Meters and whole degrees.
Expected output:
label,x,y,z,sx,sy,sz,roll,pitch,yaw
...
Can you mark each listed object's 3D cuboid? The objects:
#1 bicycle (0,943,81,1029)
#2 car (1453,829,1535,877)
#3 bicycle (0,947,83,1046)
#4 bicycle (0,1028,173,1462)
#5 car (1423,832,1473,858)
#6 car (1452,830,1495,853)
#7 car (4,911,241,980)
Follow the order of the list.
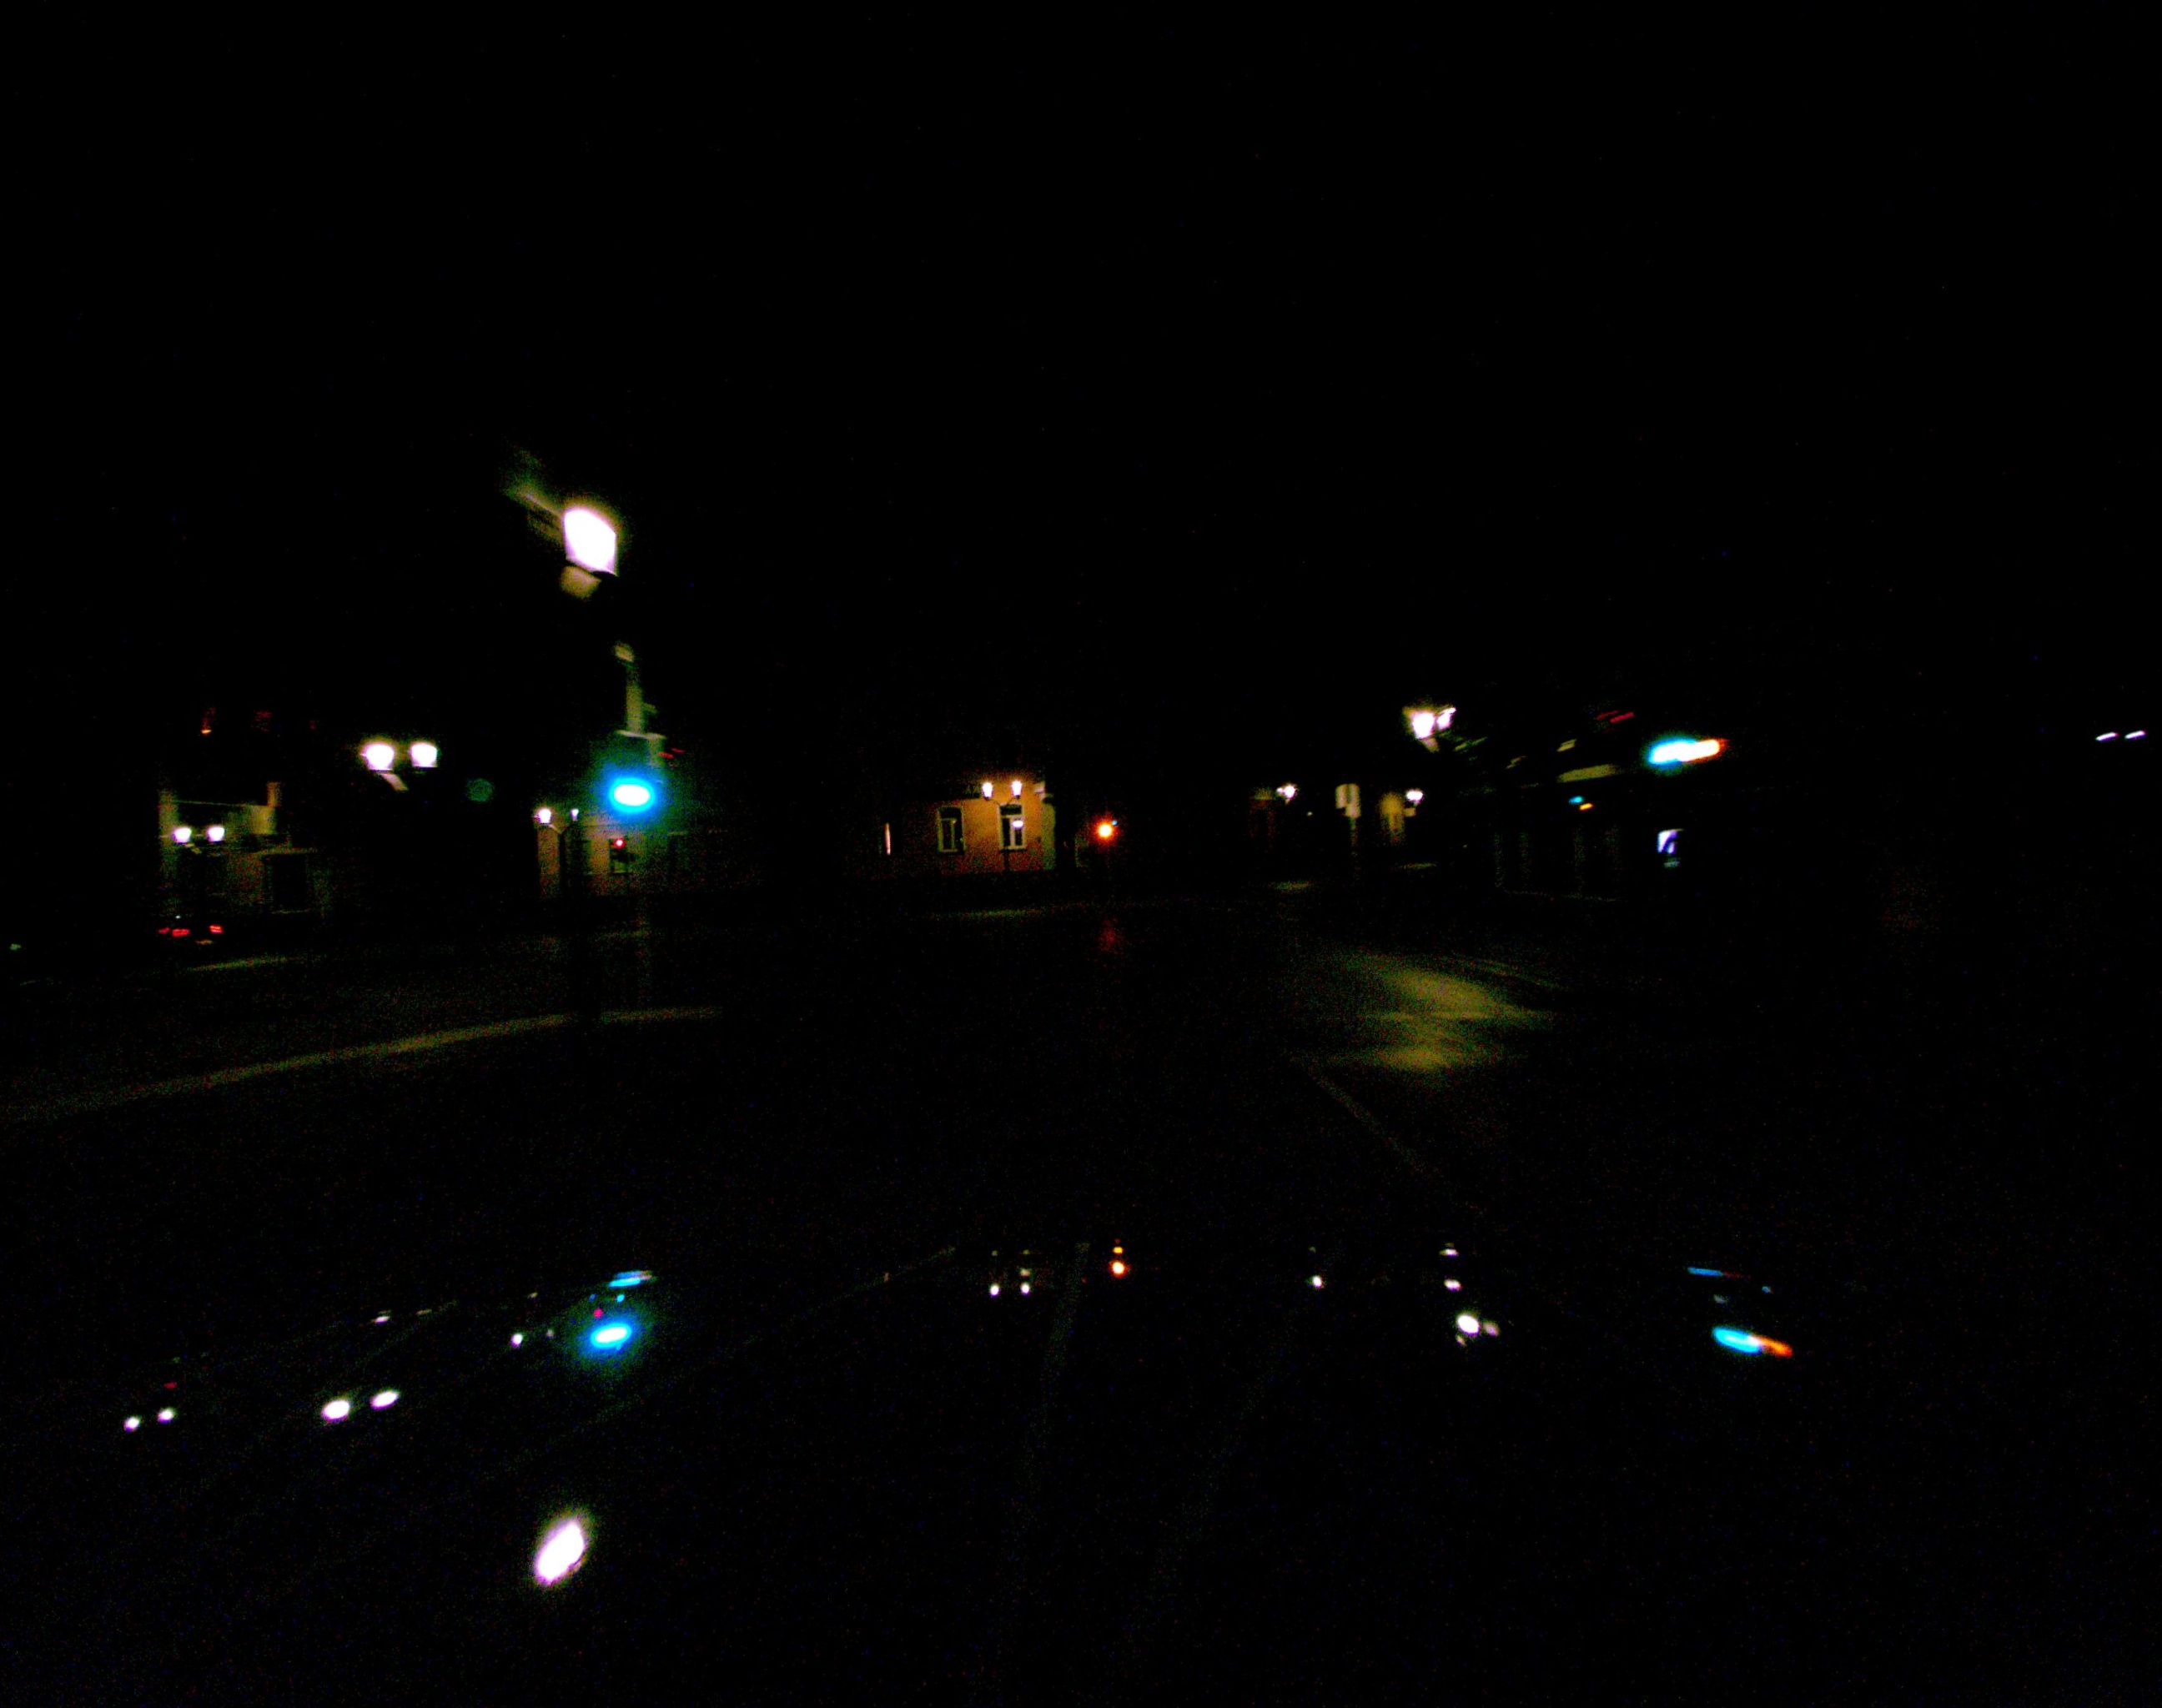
label,x,y,z,sx,sy,sz,roll,pitch,yaw
bicycle,-15.648,1.934,10.727,0.648,1.121,1.806,-3,0,37
car,17.087,-0.087,31.353,1.924,1.739,4.185,-3,0,42
bicycle,-13.689,1.815,9.248,0.648,1.121,1.806,-3,0,37
bicycle,-3.909,1.197,2.104,1.659,1.134,0.827,-3,0,-3
car,24.387,-0.590,50.475,1.730,1.510,4.007,-3,0,44
car,29.581,-0.942,57.279,1.707,1.510,4.007,-3,0,44
car,-29.077,2.724,23.221,4.244,1.575,1.740,-3,0,-14
